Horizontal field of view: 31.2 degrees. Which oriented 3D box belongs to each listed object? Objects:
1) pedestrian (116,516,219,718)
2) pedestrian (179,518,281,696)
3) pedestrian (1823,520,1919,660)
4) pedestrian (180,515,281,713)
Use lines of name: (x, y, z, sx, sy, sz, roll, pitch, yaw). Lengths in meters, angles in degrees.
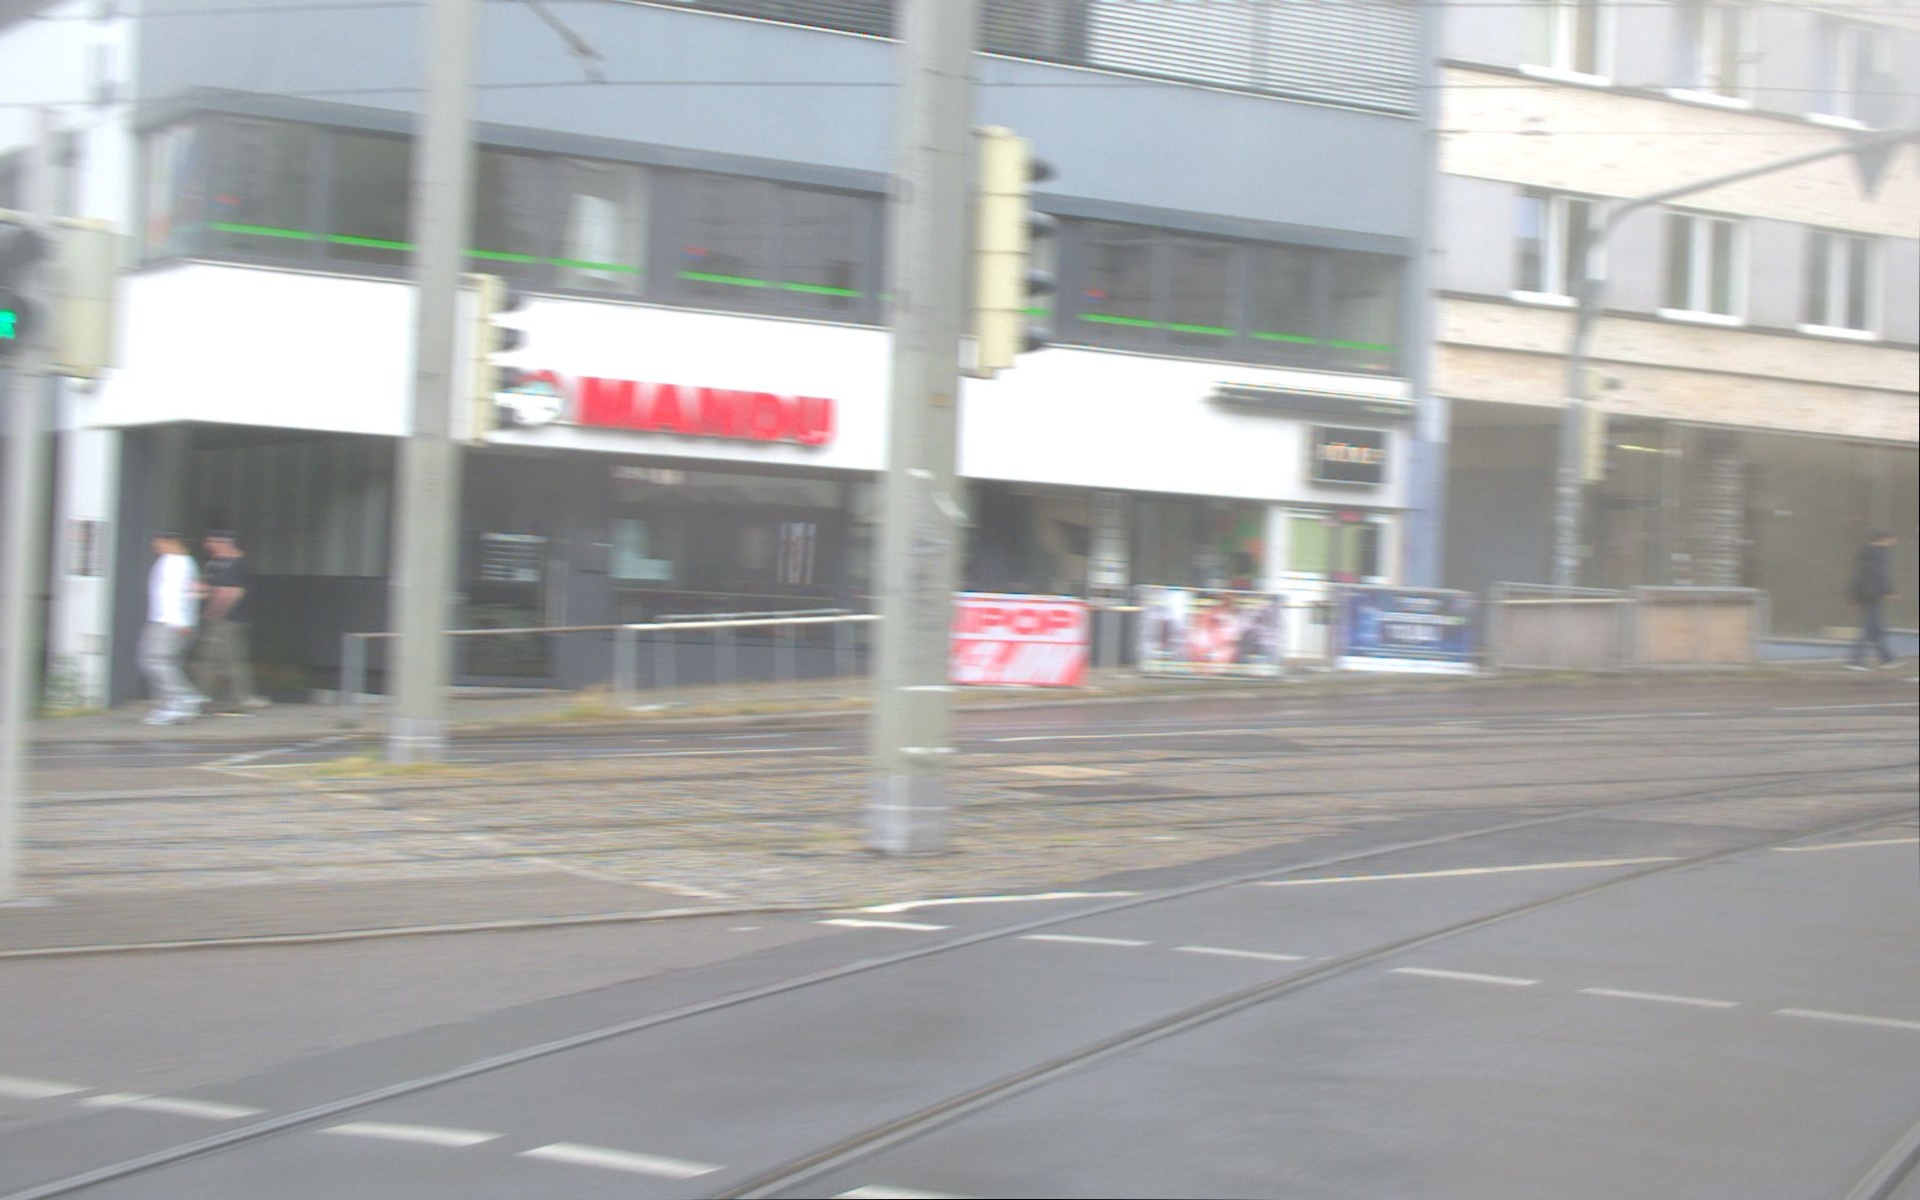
pedestrian: (-7.610, 0.160, 33.023, 0.717, 1.907, 0.698, 1, 0, 10)
pedestrian: (-7.306, 0.069, 34.427, 0.717, 1.756, 0.697, 1, 0, 17)
pedestrian: (11.184, -0.131, 41.827, 0.995, 1.675, 0.890, 0, 1, -31)
pedestrian: (-7.144, 0.130, 33.692, 0.717, 1.907, 0.698, 1, 0, 10)
